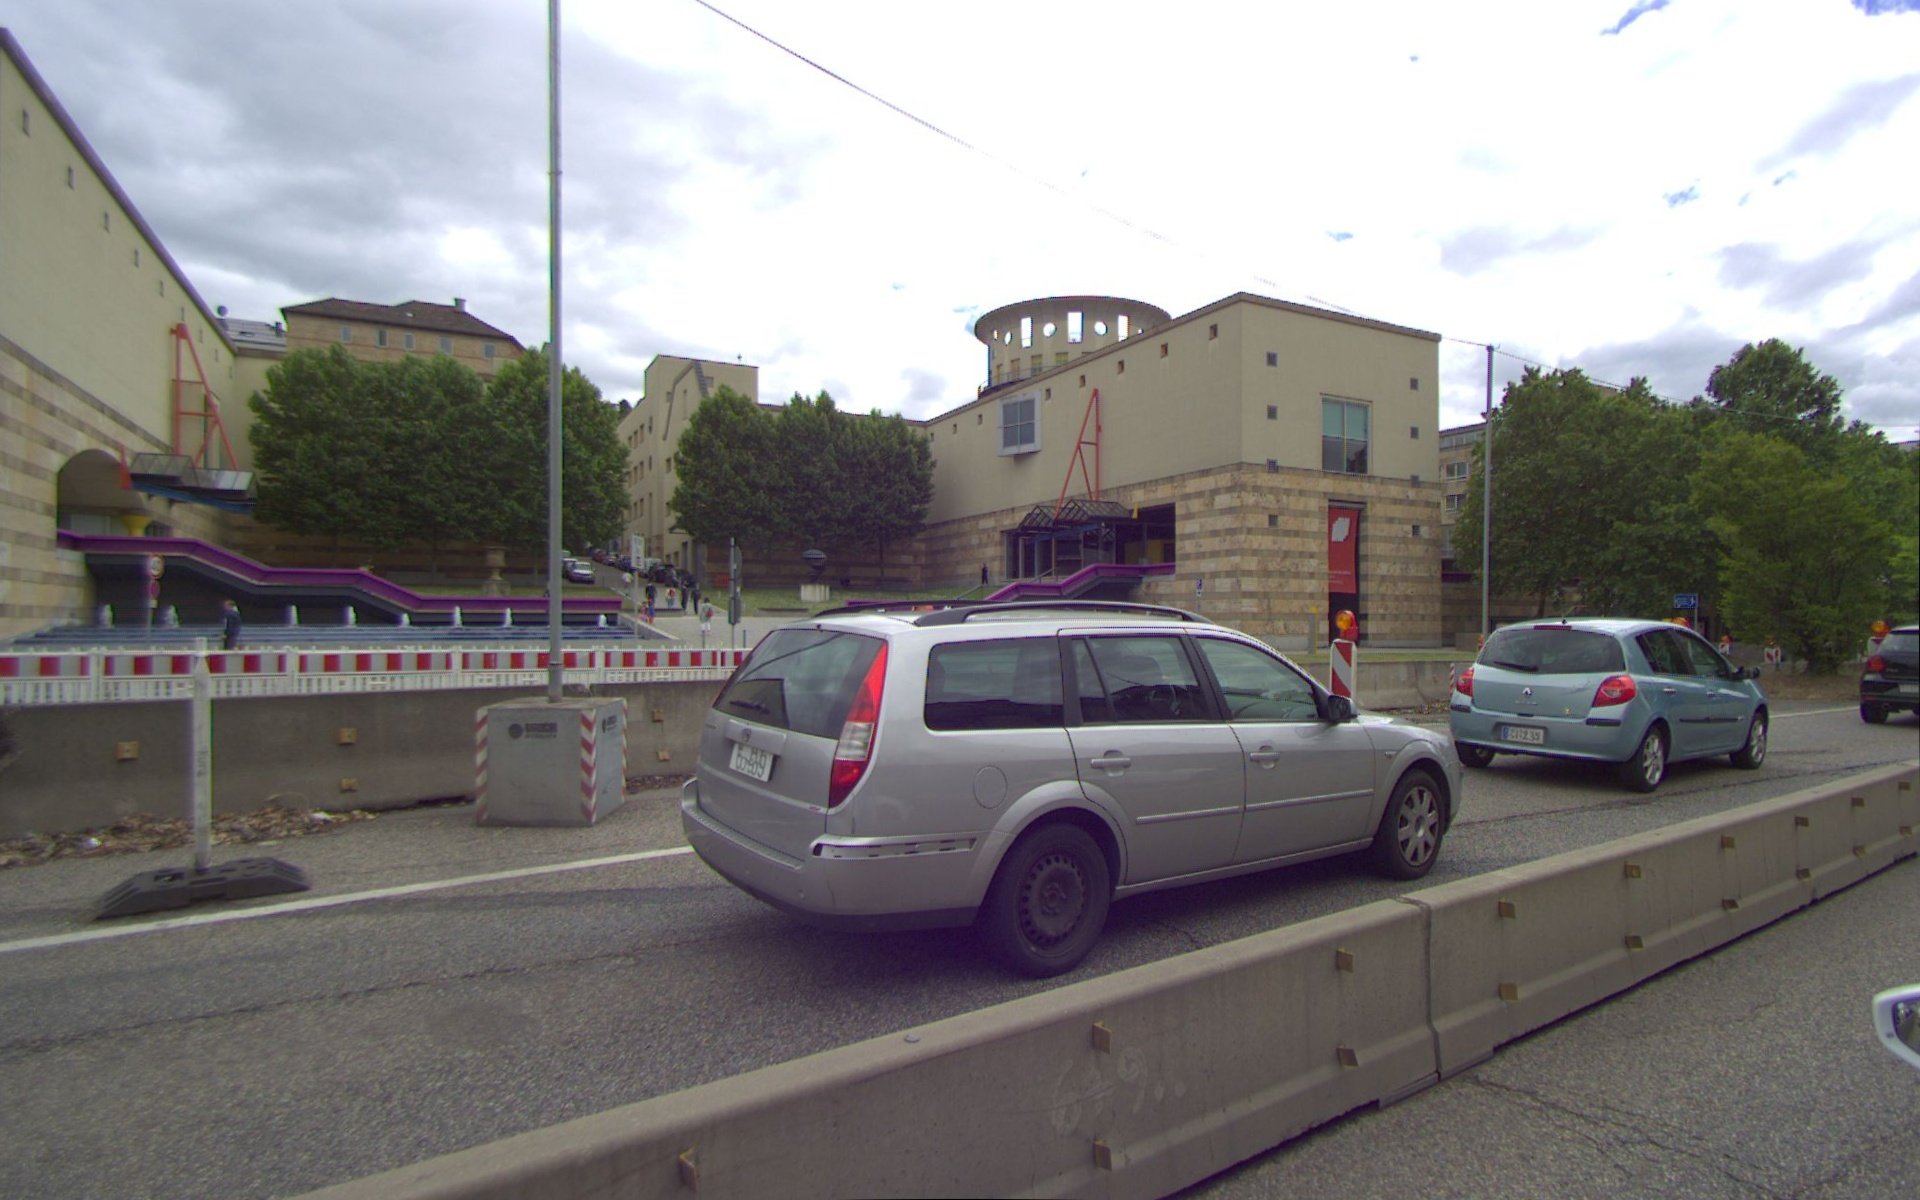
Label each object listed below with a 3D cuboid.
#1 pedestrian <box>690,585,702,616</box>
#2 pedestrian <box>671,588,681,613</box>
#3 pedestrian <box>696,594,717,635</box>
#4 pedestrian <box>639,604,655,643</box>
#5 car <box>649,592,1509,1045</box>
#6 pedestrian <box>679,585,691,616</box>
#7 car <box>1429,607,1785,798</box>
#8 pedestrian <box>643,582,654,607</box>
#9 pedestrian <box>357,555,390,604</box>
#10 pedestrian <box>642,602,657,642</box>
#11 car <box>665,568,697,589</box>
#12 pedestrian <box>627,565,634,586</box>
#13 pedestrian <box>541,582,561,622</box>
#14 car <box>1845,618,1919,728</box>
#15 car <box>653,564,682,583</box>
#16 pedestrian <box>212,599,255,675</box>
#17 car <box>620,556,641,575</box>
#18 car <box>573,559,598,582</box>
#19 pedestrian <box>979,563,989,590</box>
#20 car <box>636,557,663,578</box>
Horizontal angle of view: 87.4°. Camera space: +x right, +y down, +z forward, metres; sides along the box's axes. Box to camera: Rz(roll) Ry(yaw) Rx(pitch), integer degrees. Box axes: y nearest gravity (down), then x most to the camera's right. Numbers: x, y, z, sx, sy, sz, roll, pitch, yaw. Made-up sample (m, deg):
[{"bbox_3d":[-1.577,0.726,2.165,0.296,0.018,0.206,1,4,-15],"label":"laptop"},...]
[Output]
[{"bbox_3d":[-15.197,0.007,57.888,0.472,1.772,0.642,1,0,-30],"label":"pedestrian"},{"bbox_3d":[-16.581,0.010,58.586,0.472,1.441,0.402,1,0,-30],"label":"pedestrian"},{"bbox_3d":[-10.877,0.624,43.097,0.690,1.717,0.522,1,0,-32],"label":"pedestrian"},{"bbox_3d":[-14.005,1.033,44.948,0.520,1.717,0.693,1,0,-28],"label":"pedestrian"},{"bbox_3d":[0.921,0.766,5.481,4.660,1.501,1.865,2,0,-37],"label":"car"},{"bbox_3d":[-15.763,0.012,57.550,0.472,1.772,0.642,1,0,-30],"label":"pedestrian"},{"bbox_3d":[6.459,0.873,9.904,3.816,1.527,1.661,1,0,-36],"label":"car"},{"bbox_3d":[-18.232,-0.346,58.801,0.472,1.441,0.402,1,0,-30],"label":"pedestrian"},{"bbox_3d":[-25.331,-0.882,43.368,1.078,2.040,0.915,2,1,-24],"label":"pedestrian"},{"bbox_3d":[-13.572,0.956,43.871,0.520,1.717,0.340,1,0,-29],"label":"pedestrian"},{"bbox_3d":[-22.074,-1.695,79.414,1.590,1.557,3.779,2,1,-28],"label":"car"},{"bbox_3d":[-28.106,-2.094,85.648,0.535,1.808,0.464,2,-1,-26],"label":"pedestrian"},{"bbox_3d":[-19.660,0.105,48.266,0.794,1.877,0.689,2,1,-28],"label":"pedestrian"},{"bbox_3d":[14.801,1.045,14.811,4.154,1.473,1.649,1,0,-34],"label":"car"},{"bbox_3d":[-24.880,-2.268,85.289,1.590,1.557,3.779,2,1,-28],"label":"car"},{"bbox_3d":[-20.163,1.013,27.897,0.805,2.040,0.842,2,1,-28],"label":"pedestrian"},{"bbox_3d":[-34.085,-3.538,103.762,1.589,1.822,3.783,2,1,-25],"label":"car"},{"bbox_3d":[-30.478,-2.382,81.756,1.588,1.822,3.783,1,0,-25],"label":"car"},{"bbox_3d":[1.876,-1.799,77.903,0.593,2.040,0.409,1,1,-29],"label":"pedestrian"},{"bbox_3d":[-28.238,-2.913,91.339,1.590,1.822,3.779,2,1,-28],"label":"car"}]
